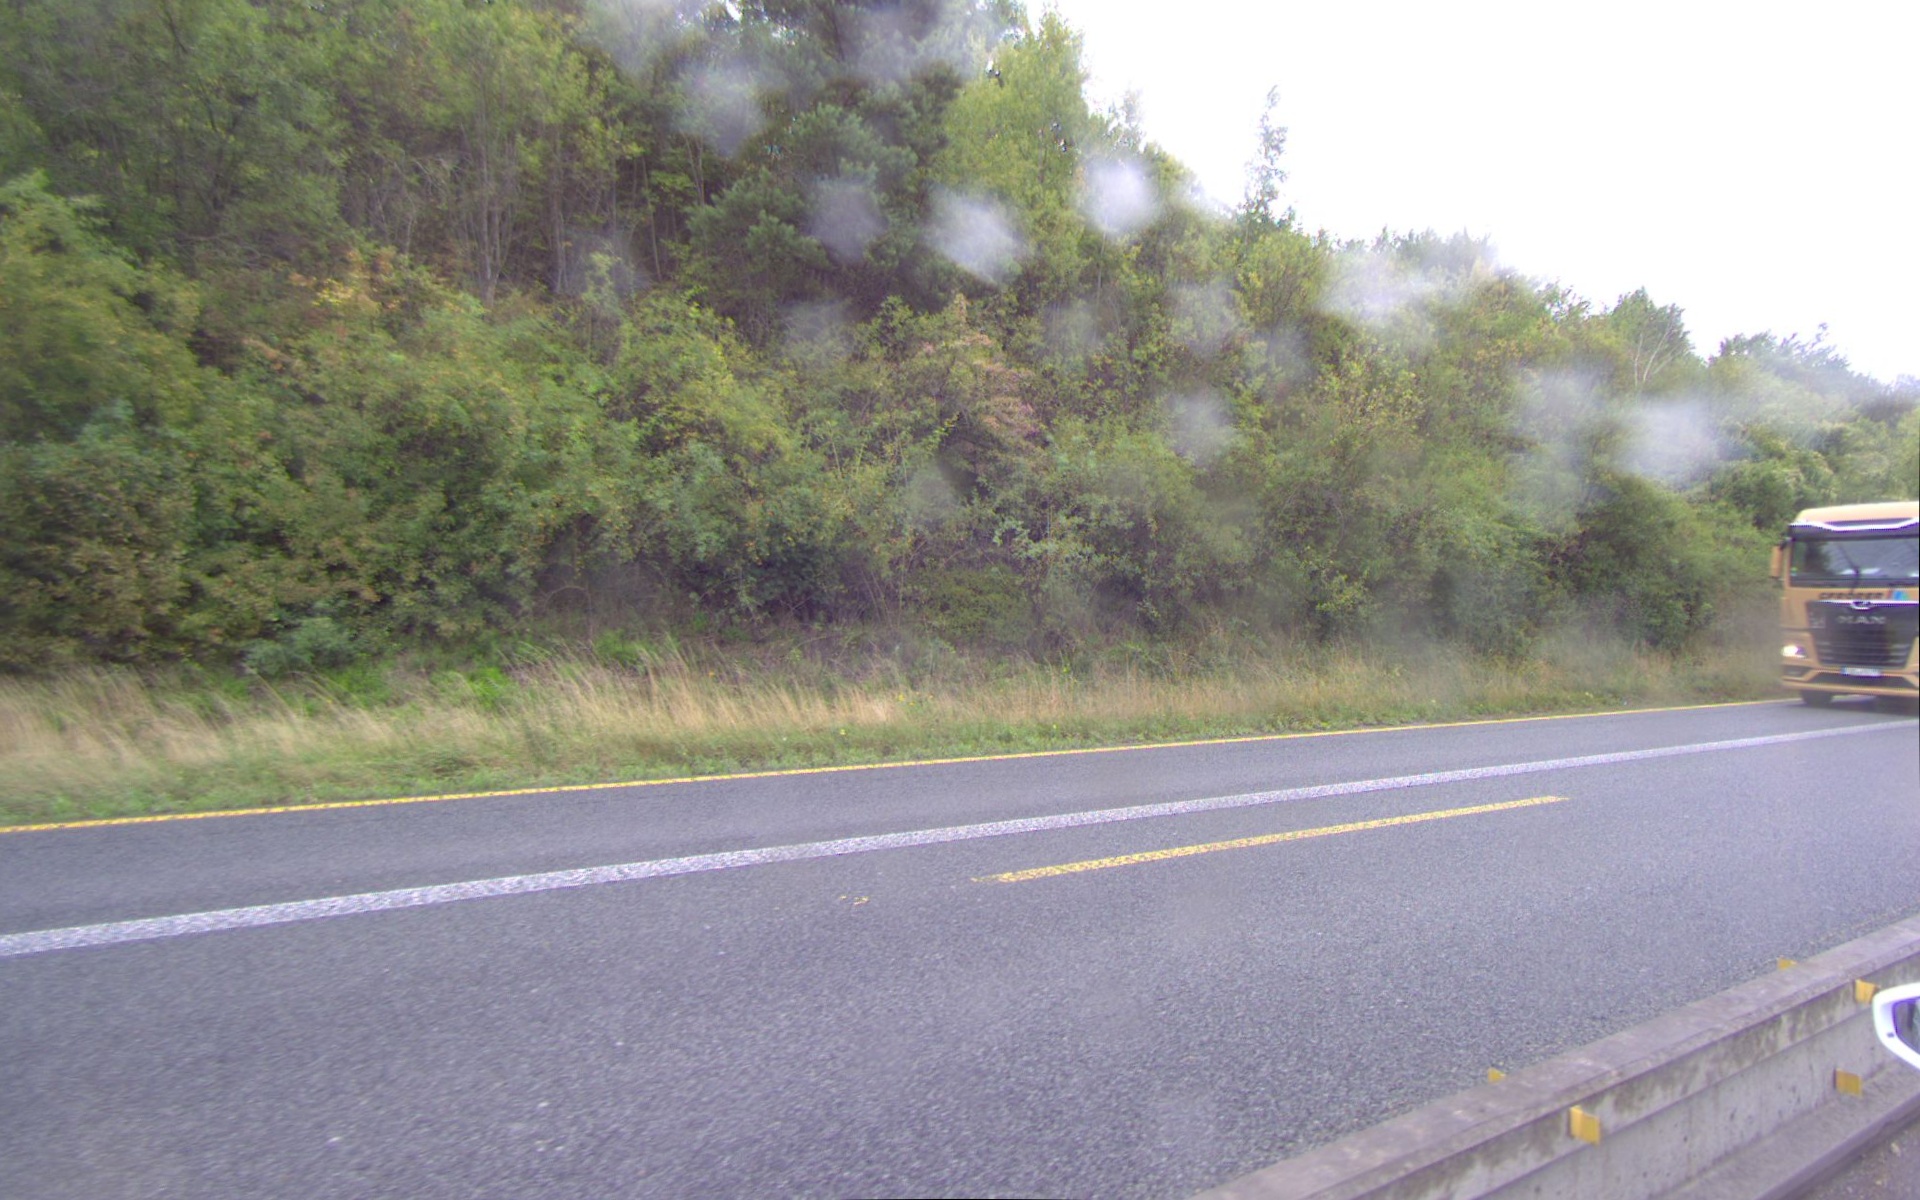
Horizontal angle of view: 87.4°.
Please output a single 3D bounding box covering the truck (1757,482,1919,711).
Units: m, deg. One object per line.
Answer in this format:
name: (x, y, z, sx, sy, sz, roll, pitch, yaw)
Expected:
truck: (20.341, 0.107, 20.114, 12.169, 3.705, 2.668, 2, 0, -31)
